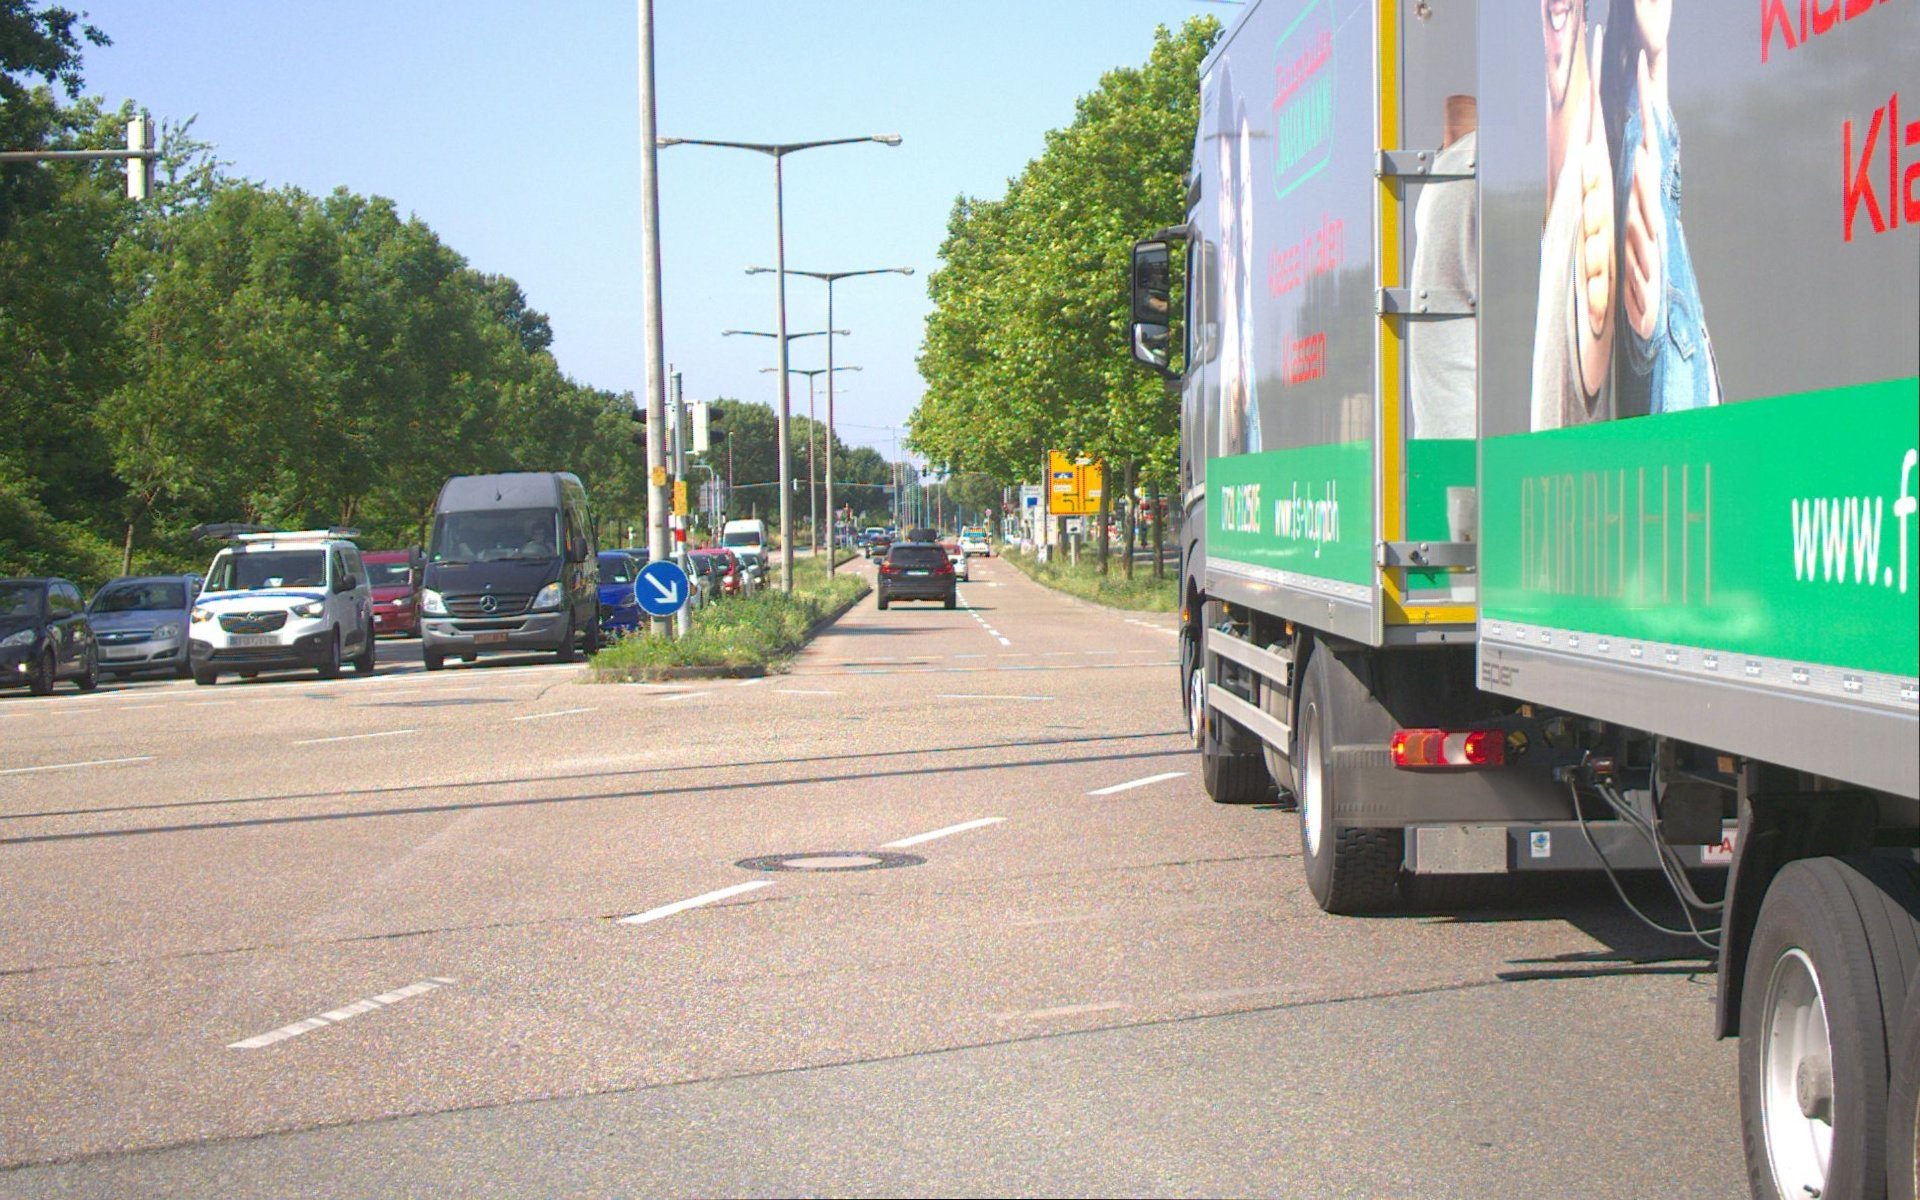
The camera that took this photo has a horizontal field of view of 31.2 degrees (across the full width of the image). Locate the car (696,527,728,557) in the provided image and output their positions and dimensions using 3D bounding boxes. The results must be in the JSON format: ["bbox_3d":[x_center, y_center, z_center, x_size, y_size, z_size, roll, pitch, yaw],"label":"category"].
[{"bbox_3d":[-16.747,-3.891,231.972,1.888,2.007,4.000,1,1,-1],"label":"car"}]

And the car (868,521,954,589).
[{"bbox_3d":[-1.162,-1.092,84.109,1.993,1.579,4.456,1,1,0],"label":"car"}]

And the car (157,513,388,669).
[{"bbox_3d":[-8.825,-0.131,44.550,1.993,1.863,4.774,-1,1,0],"label":"car"}]

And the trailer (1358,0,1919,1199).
[{"bbox_3d":[2.686,-0.637,6.880,2.736,3.863,7.736,-1,1,-1],"label":"trailer"}]

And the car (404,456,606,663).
[{"bbox_3d":[-6.098,-0.544,46.634,1.993,2.598,5.134,-1,1,0],"label":"car"}]

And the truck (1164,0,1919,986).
[{"bbox_3d":[2.564,-0.784,15.138,2.729,3.876,8.723,0,1,0],"label":"truck"}]

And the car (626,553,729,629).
[{"bbox_3d":[-6.292,-0.216,76.966,1.993,1.634,4.000,1,1,-1],"label":"car"}]

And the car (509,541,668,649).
[{"bbox_3d":[-5.791,-0.096,54.059,1.993,1.579,4.000,-2,1,0],"label":"car"}]

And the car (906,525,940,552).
[{"bbox_3d":[-2.285,-3.763,210.891,1.993,1.579,4.456,1,1,0],"label":"car"}]

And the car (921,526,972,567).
[{"bbox_3d":[-0.525,-2.140,138.390,1.993,1.579,4.456,1,1,0],"label":"car"}]

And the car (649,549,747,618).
[{"bbox_3d":[-6.228,-0.397,82.040,1.993,1.579,4.000,1,1,0],"label":"car"}]

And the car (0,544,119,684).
[{"bbox_3d":[-11.750,0.166,42.197,1.911,1.636,3.737,-1,1,0],"label":"car"}]

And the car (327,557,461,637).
[{"bbox_3d":[-11.647,-0.077,70.982,1.993,1.579,4.456,1,1,0],"label":"car"}]

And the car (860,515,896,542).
[{"bbox_3d":[-5.016,-4.402,210.828,1.993,1.579,4.456,1,1,0],"label":"car"}]

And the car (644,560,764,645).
[{"bbox_3d":[-4.962,0.025,66.984,1.993,1.579,4.000,1,1,0],"label":"car"}]

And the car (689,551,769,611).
[{"bbox_3d":[-6.494,-0.548,97.013,1.993,1.634,4.000,1,1,-1],"label":"car"}]

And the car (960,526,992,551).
[{"bbox_3d":[1.042,-3.917,219.303,1.993,1.579,4.456,1,1,0],"label":"car"}]

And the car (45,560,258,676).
[{"bbox_3d":[-11.436,0.224,48.890,1.993,1.535,4.236,-1,1,0],"label":"car"}]
